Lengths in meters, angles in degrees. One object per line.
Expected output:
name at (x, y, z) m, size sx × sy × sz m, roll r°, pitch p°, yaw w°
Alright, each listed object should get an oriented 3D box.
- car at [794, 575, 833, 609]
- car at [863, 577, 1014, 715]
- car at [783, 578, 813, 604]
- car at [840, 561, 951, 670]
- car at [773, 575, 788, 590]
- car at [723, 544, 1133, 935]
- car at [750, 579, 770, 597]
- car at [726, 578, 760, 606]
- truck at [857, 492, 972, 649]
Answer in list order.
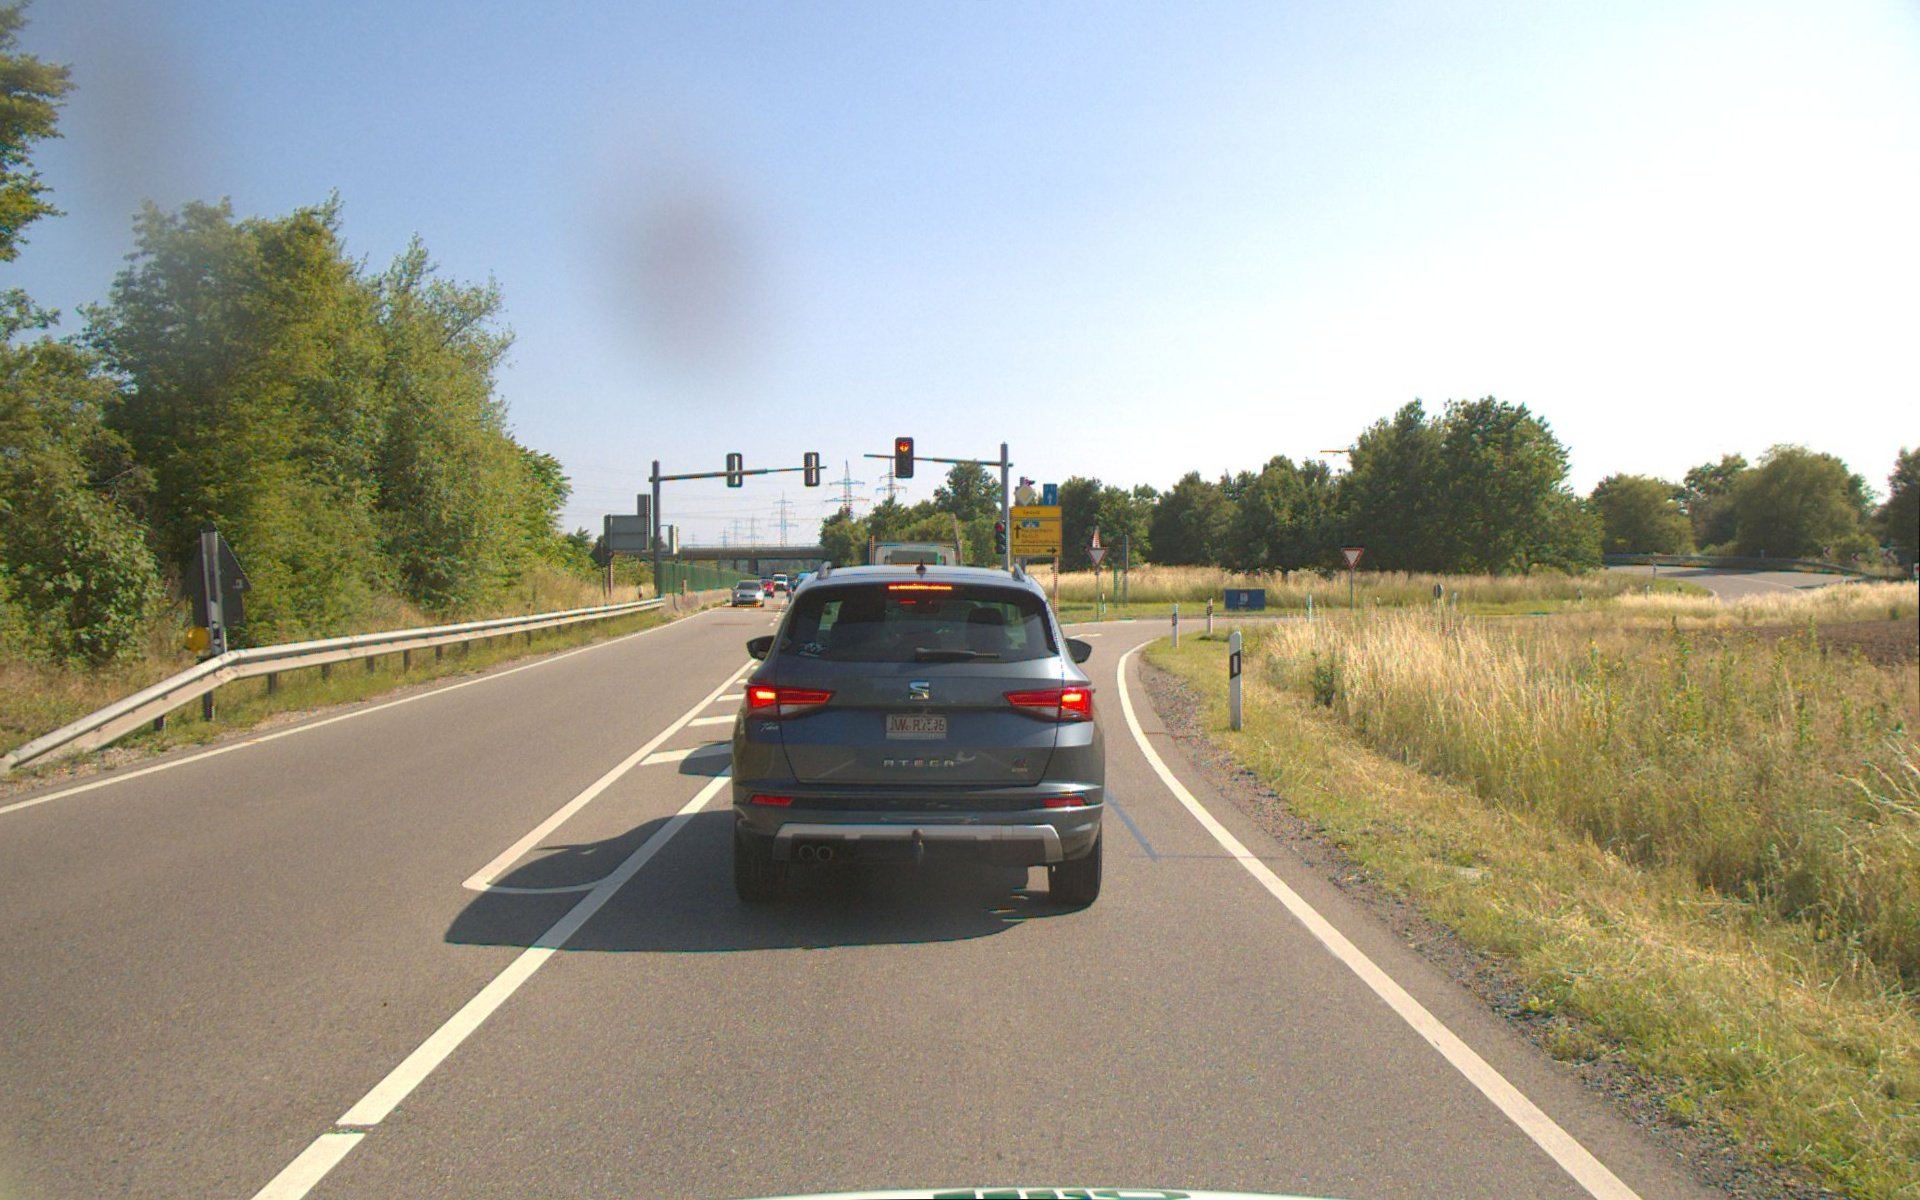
car at (-7.072, -0.388, 79.700) m, size 1.781 × 1.567 × 3.995 m, roll -1°, pitch 1°, yaw -7°
car at (-0.356, 0.508, 21.239) m, size 1.750 × 1.570 × 3.998 m, roll 0°, pitch 1°, yaw -3°
car at (-9.055, -0.496, 92.398) m, size 1.652 × 1.404 × 3.529 m, roll 0°, pitch 1°, yaw -6°
car at (-1.136, 0.204, 28.217) m, size 1.750 × 1.705 × 3.998 m, roll 0°, pitch 1°, yaw -3°
car at (-25.303, -2.492, 232.657) m, size 1.927 × 1.986 × 4.987 m, roll -1°, pitch 1°, yaw -9°
car at (-0.238, 0.557, 9.094) m, size 1.750 × 1.657 × 3.998 m, roll 0°, pitch 1°, yaw -3°
car at (-17.389, -1.046, 143.705) m, size 1.728 × 1.456 × 3.994 m, roll -1°, pitch 1°, yaw -7°
car at (-11.954, -0.455, 91.338) m, size 1.789 × 1.456 × 3.994 m, roll -1°, pitch 1°, yaw -7°
truck at (-1.003, -0.586, 35.854) m, size 2.290 × 3.119 × 5.807 m, roll 0°, pitch 0°, yaw -2°
